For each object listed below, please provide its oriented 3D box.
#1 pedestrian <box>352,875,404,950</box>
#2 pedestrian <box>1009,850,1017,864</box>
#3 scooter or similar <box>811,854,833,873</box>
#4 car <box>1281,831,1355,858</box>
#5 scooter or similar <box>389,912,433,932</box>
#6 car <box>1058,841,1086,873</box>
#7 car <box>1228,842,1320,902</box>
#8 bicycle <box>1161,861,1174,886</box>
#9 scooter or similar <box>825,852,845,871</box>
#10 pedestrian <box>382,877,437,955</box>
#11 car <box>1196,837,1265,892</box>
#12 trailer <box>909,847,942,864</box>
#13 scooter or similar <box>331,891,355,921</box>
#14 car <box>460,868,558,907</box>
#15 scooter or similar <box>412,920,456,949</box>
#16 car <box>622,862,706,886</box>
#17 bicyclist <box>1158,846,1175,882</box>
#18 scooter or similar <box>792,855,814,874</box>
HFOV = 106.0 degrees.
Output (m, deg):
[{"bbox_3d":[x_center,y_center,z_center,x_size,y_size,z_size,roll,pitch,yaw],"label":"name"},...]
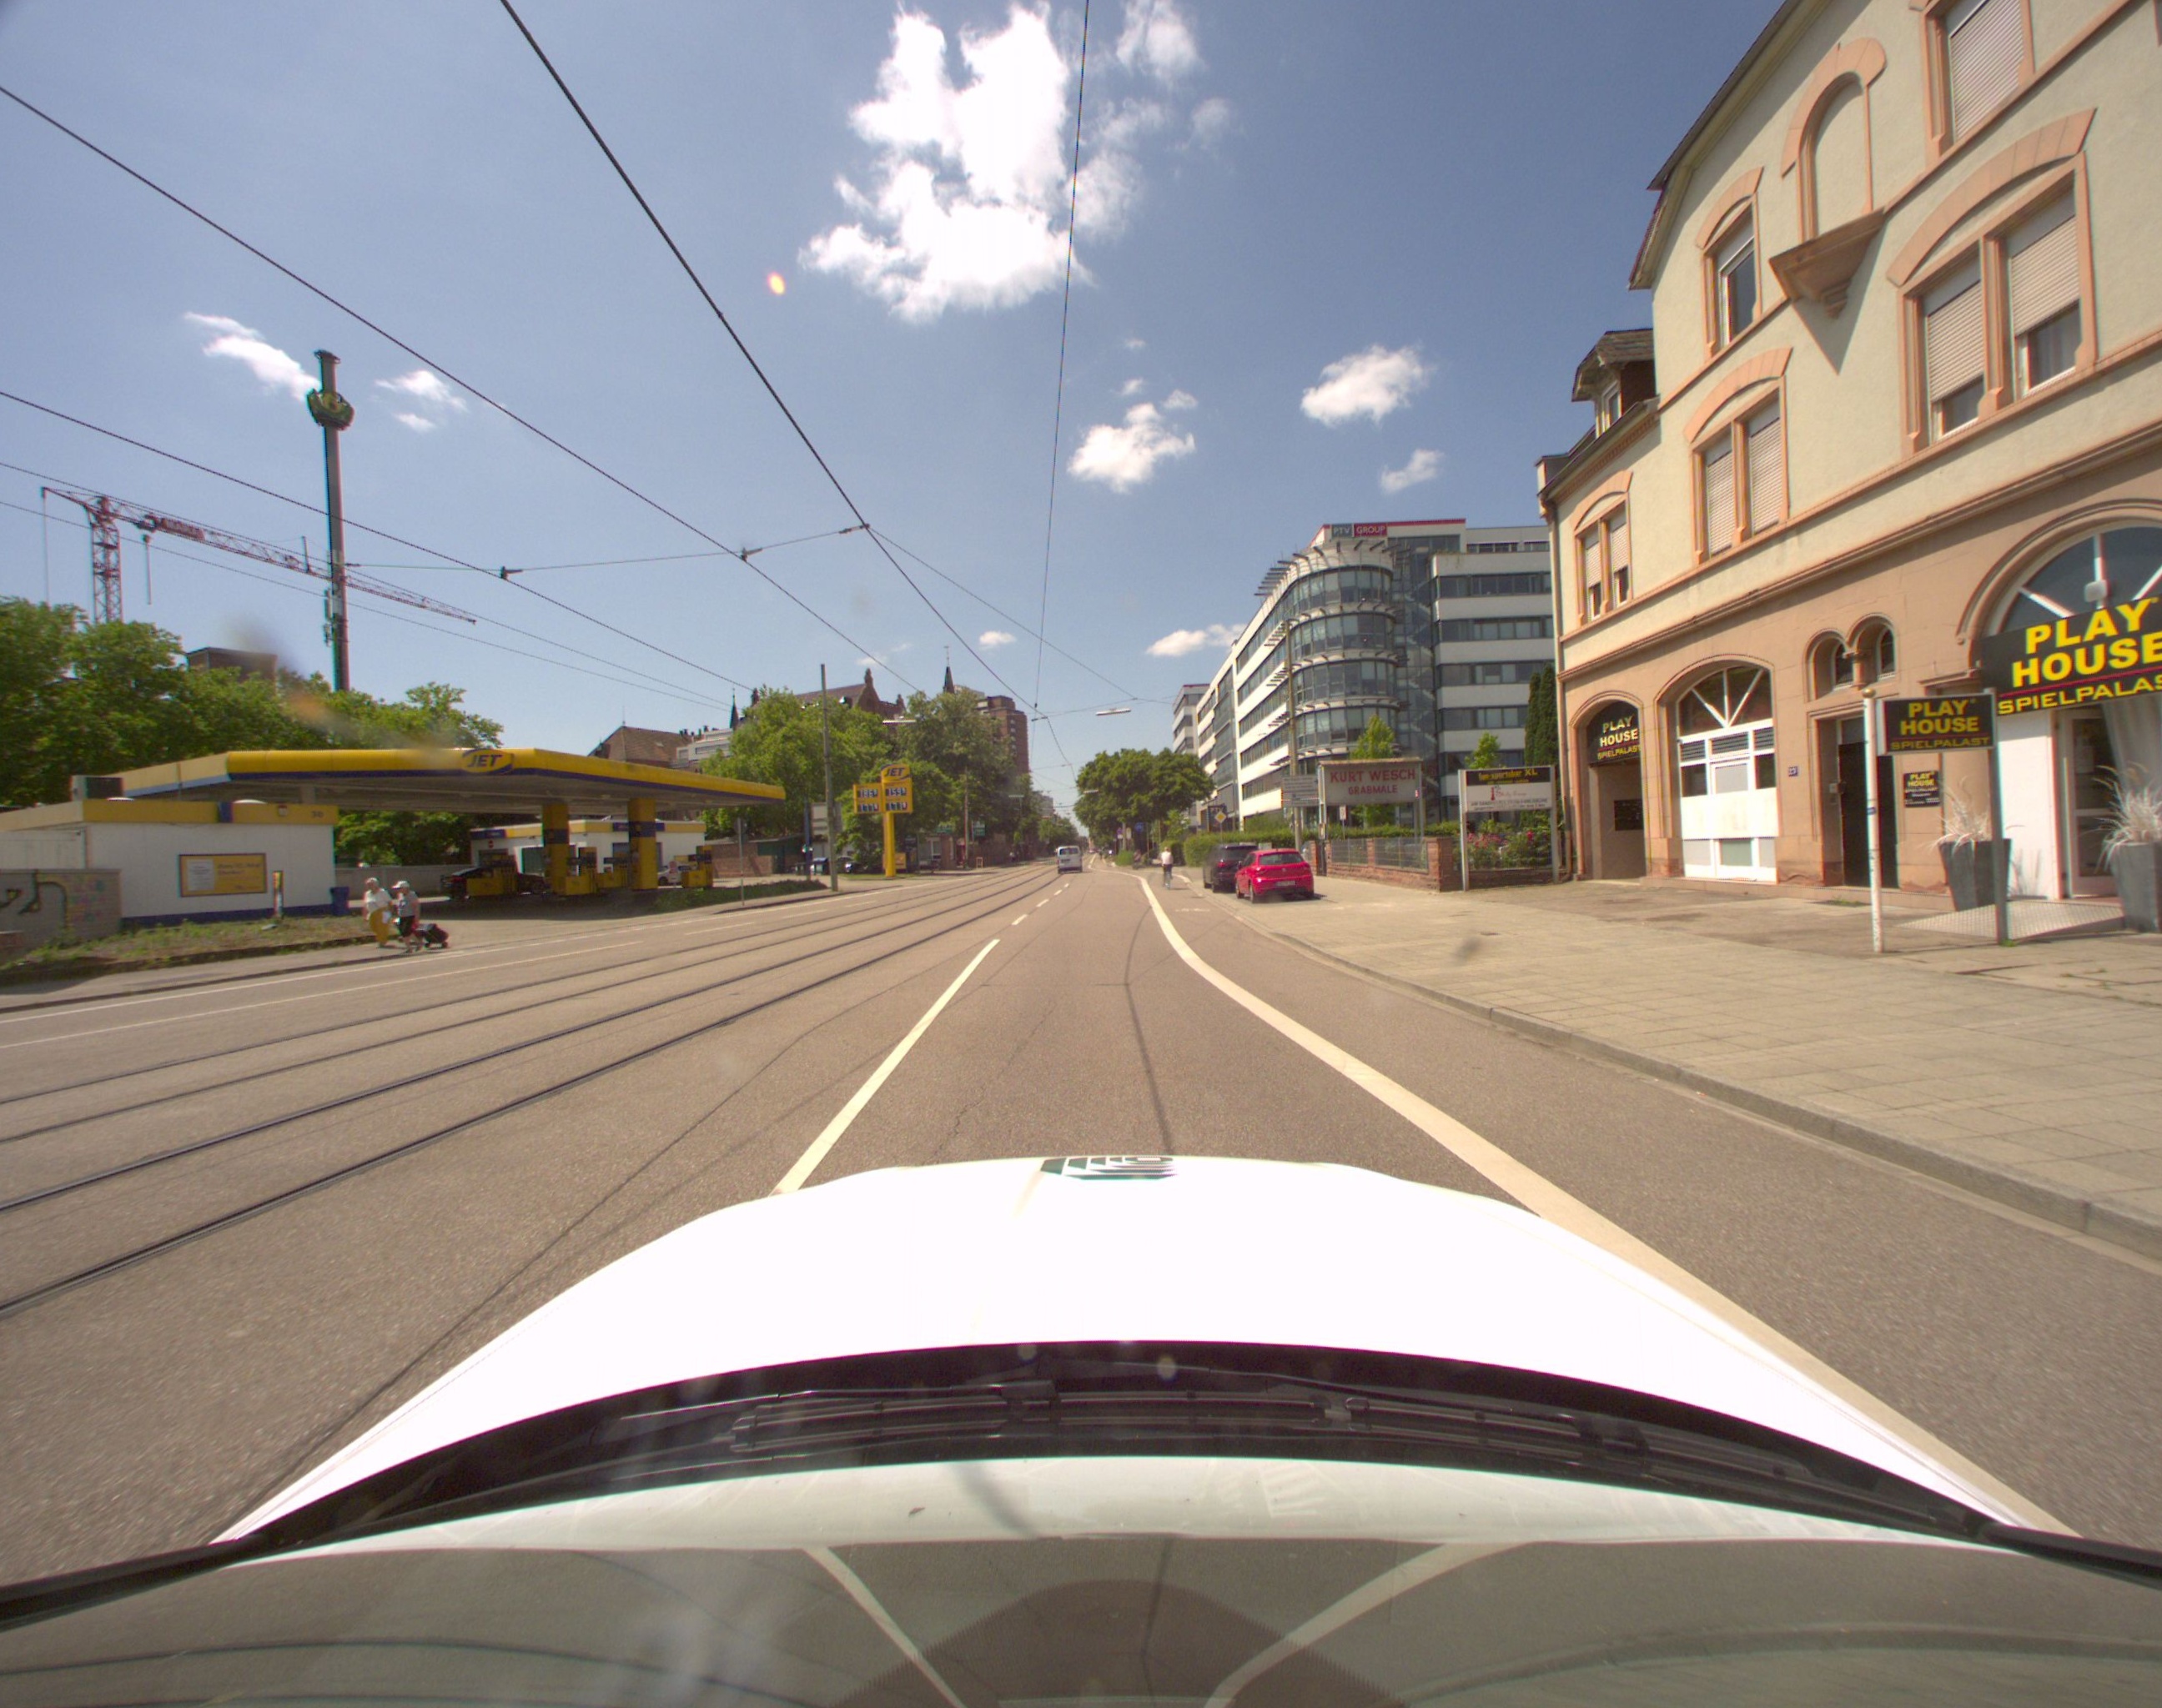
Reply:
[{"bbox_3d":[-16.351,1.346,18.952,0.549,1.658,0.674,-2,0,8],"label":"pedestrian"},{"bbox_3d":[-9.859,0.451,118.039,0.861,2.013,0.646,-4,-1,-2],"label":"pedestrian"},{"bbox_3d":[-21.305,0.771,67.099,1.305,1.466,1.063,-2,0,12],"label":"scooter or similar"},{"bbox_3d":[13.566,-0.535,46.721,3.785,1.275,1.556,-4,1,1],"label":"car"},{"bbox_3d":[-16.201,1.643,19.700,0.470,0.394,0.674,-2,0,8],"label":"scooter or similar"},{"bbox_3d":[-0.589,0.182,56.639,1.746,2.013,4.001,-4,1,1],"label":"car"},{"bbox_3d":[5.463,0.443,23.531,1.706,1.452,4.074,-4,1,1],"label":"car"},{"bbox_3d":[3.411,0.754,32.125,0.463,0.887,2.051,-2,1,5],"label":"bicycle"},{"bbox_3d":[-20.015,0.592,66.285,1.166,1.466,1.061,-2,0,6],"label":"scooter or similar"},{"bbox_3d":[-14.891,1.360,18.069,0.577,1.671,0.669,-2,0,9],"label":"pedestrian"},{"bbox_3d":[5.363,0.294,29.782,1.855,1.686,5.006,-3,2,4],"label":"car"},{"bbox_3d":[-14.629,0.184,76.734,2.717,1.526,1.330,-2,-1,2],"label":"trailer"},{"bbox_3d":[-23.348,1.644,25.766,0.403,0.930,0.327,-2,0,4],"label":"scooter or similar"},{"bbox_3d":[-29.535,1.691,42.162,1.583,1.703,3.793,-5,-1,26],"label":"car"},{"bbox_3d":[-14.977,1.858,18.861,0.473,0.581,0.633,-2,0,12],"label":"scooter or similar"},{"bbox_3d":[-28.457,1.372,55.782,1.818,1.365,5.038,-2,0,24],"label":"car"},{"bbox_3d":[3.367,0.388,32.117,0.588,1.397,0.843,-2,1,8],"label":"bicyclist"},{"bbox_3d":[-23.194,0.878,68.051,1.305,1.466,1.063,-2,0,12],"label":"scooter or similar"}]
